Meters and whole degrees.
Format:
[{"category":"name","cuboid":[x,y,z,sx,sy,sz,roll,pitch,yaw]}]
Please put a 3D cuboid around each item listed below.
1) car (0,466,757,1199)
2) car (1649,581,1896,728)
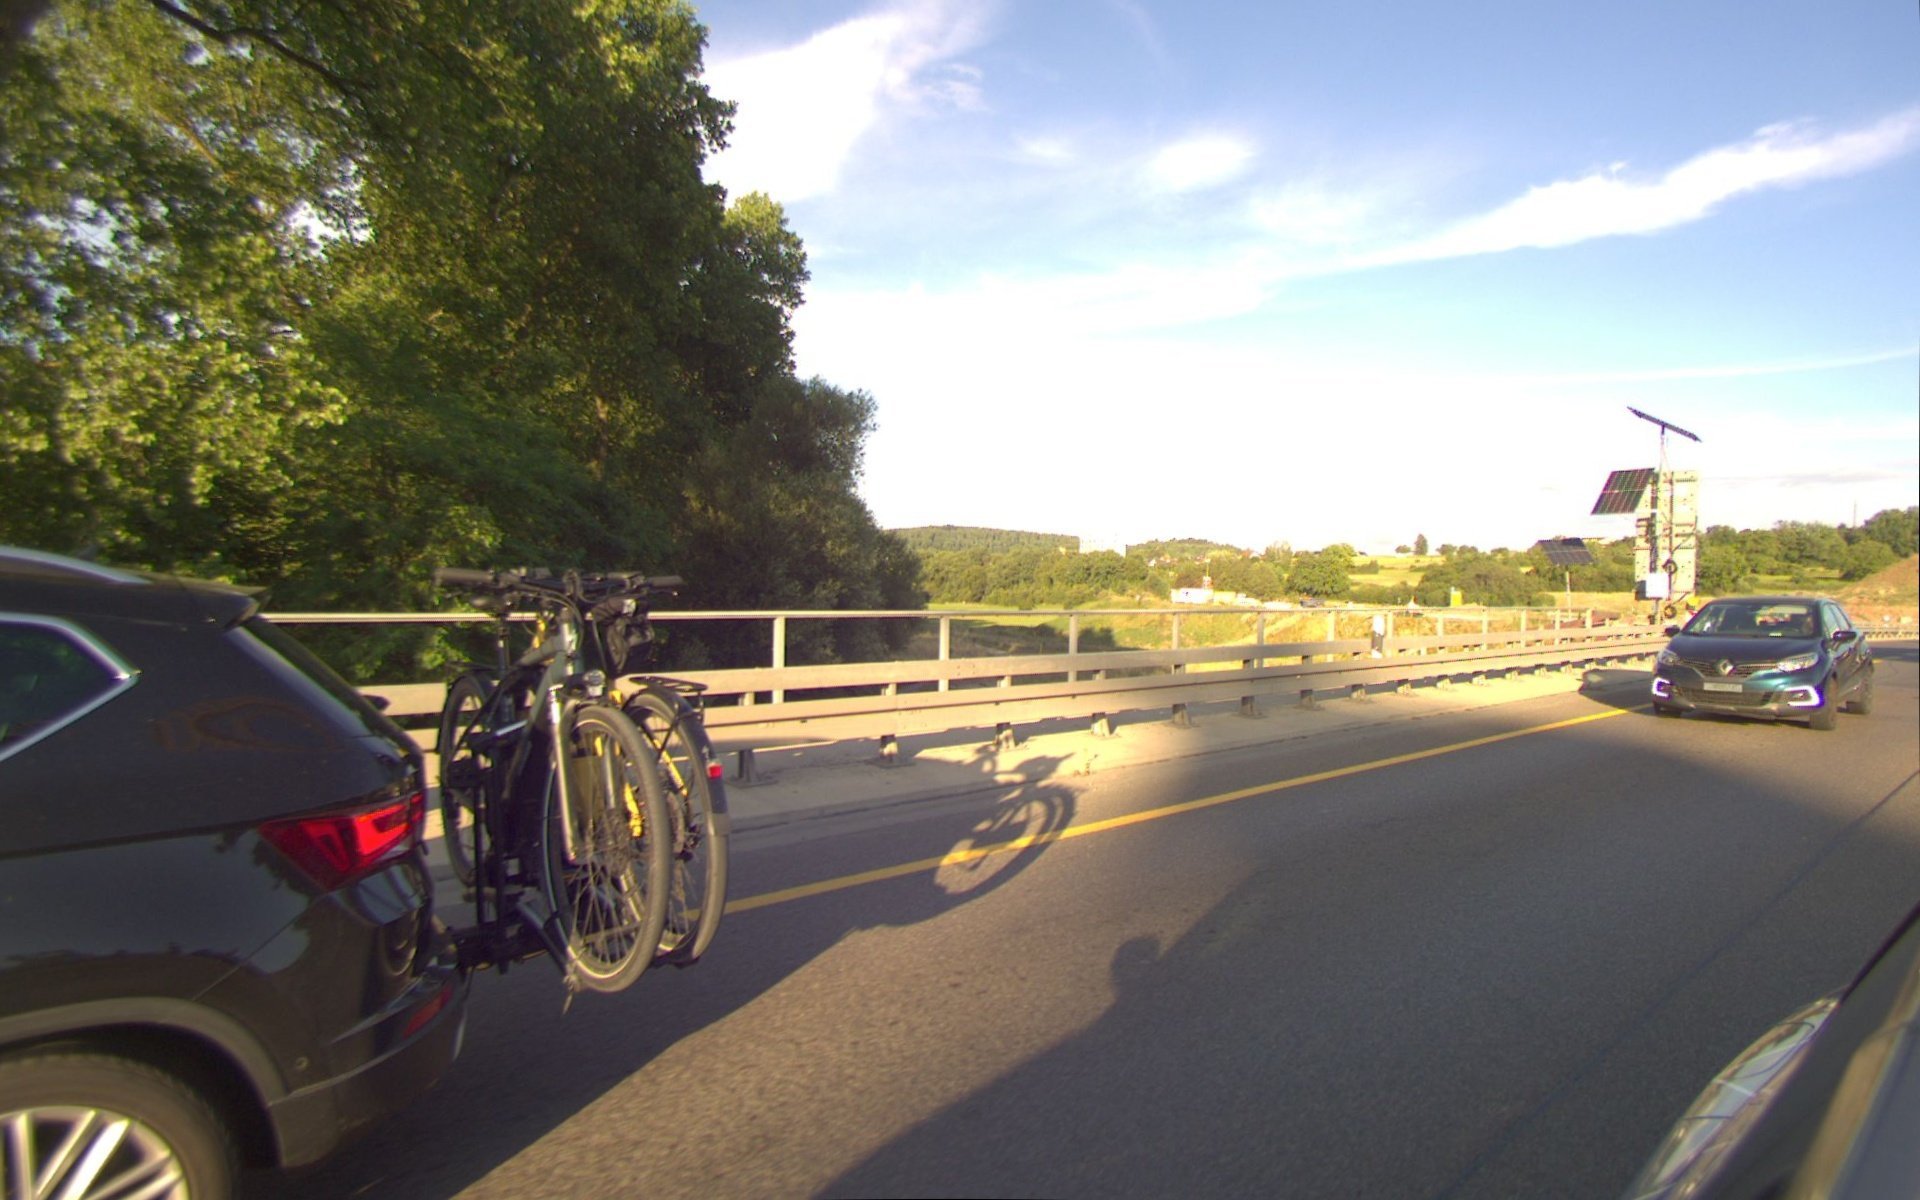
[{"category":"car","cuboid":[-2.963,0.578,1.676,4.879,1.619,1.878,0,1,-41]},{"category":"car","cuboid":[10.596,0.627,13.099,4.061,1.606,1.777,1,-1,-41]}]
